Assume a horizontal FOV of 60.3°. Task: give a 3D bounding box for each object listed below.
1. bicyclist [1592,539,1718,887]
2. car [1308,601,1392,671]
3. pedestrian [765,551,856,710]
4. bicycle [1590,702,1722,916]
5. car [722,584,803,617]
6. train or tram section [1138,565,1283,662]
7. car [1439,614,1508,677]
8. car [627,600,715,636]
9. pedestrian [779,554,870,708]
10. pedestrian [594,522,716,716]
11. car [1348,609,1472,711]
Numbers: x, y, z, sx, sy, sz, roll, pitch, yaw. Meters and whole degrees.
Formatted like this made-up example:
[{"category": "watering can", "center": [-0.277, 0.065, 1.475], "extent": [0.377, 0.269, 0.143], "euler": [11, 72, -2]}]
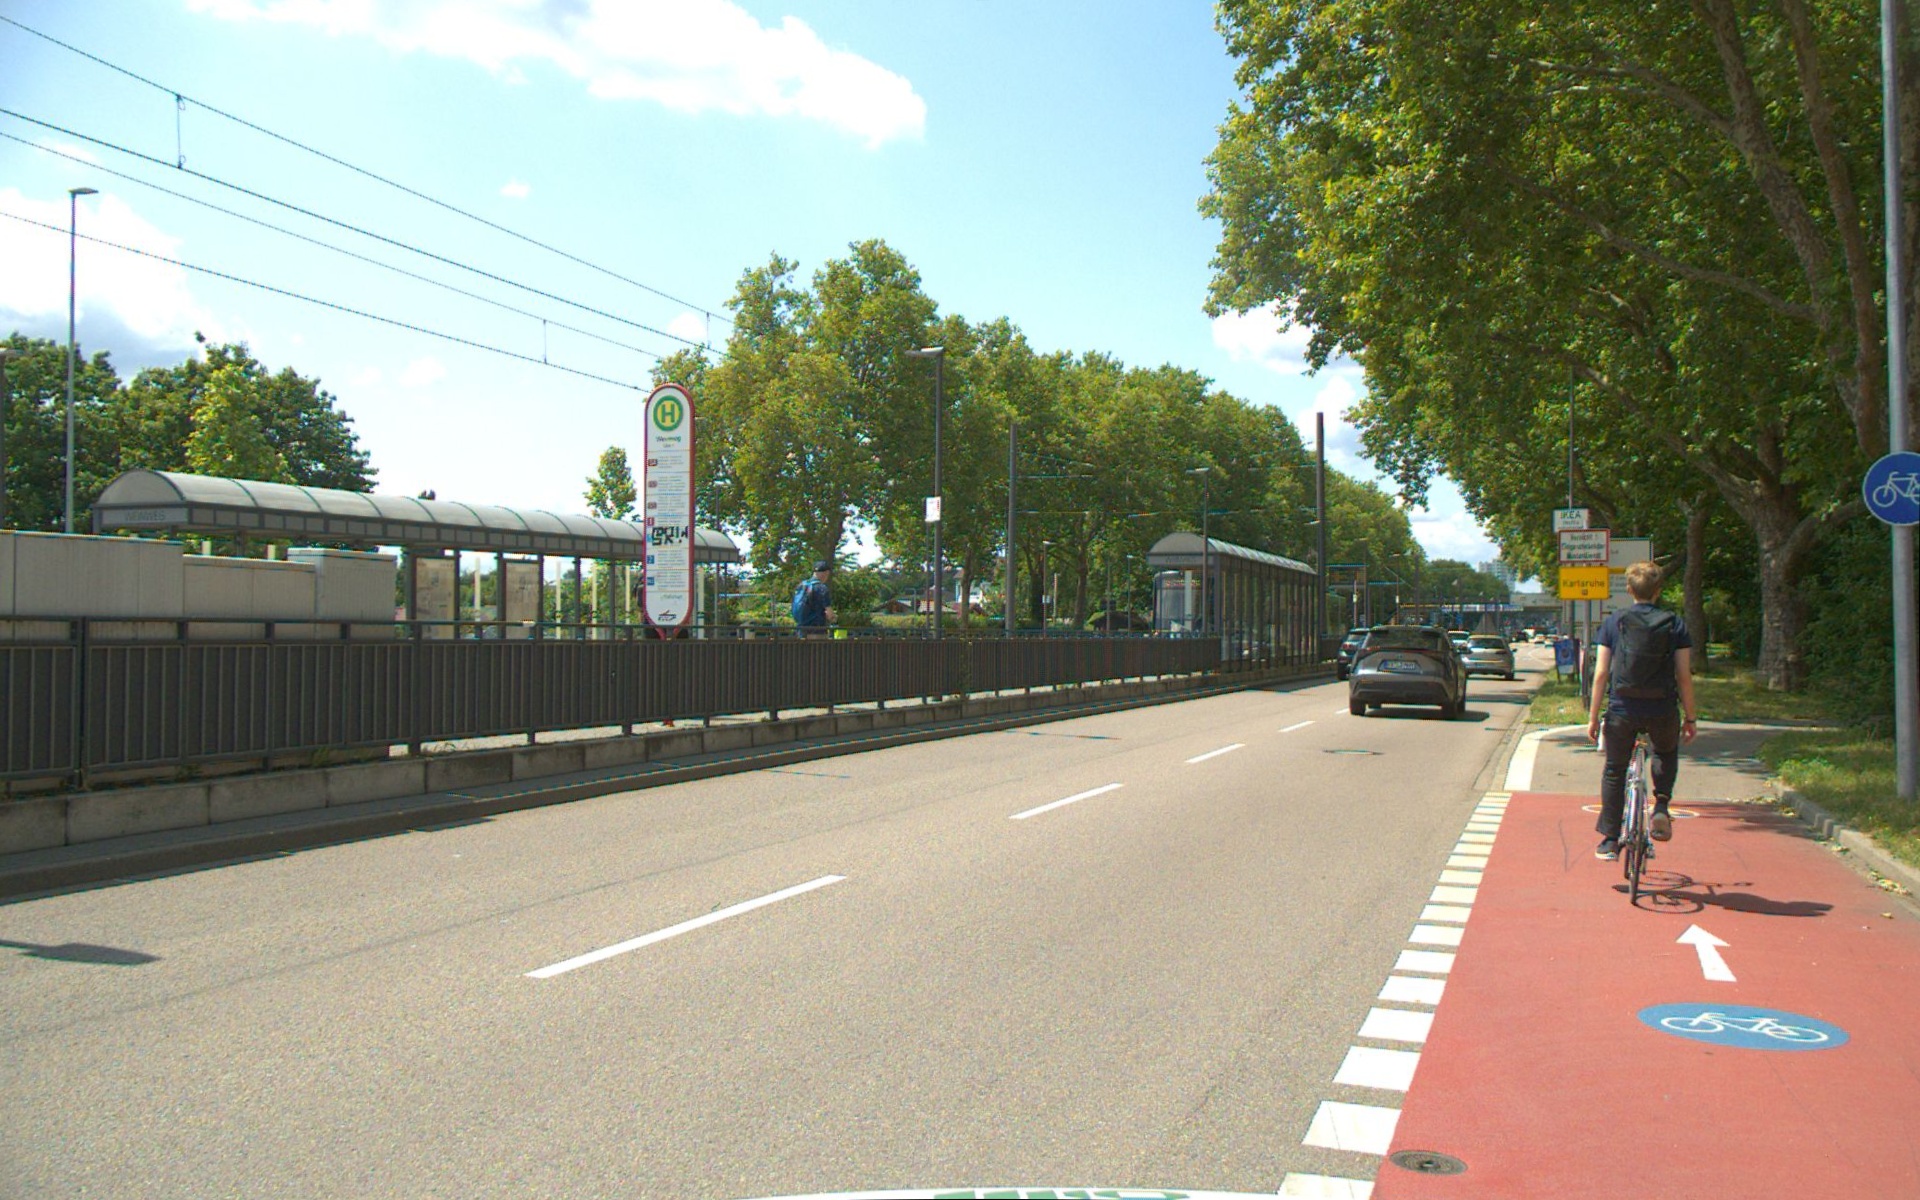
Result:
[{"category": "bicyclist", "center": [3.985, 0.615, 9.519], "extent": [0.597, 1.878, 0.924], "euler": [2, 0, 22]}, {"category": "car", "center": [12.034, 1.079, 50.822], "extent": [1.952, 2.024, 4.363], "euler": [1, 0, 21]}, {"category": "pedestrian", "center": [-1.780, 0.353, 19.798], "extent": [0.719, 1.839, 0.930], "euler": [1, -1, 21]}, {"category": "bicycle", "center": [3.997, 1.139, 9.570], "extent": [0.607, 1.016, 2.023], "euler": [2, -1, 22]}, {"category": "car", "center": [-10.578, 0.028, 88.644], "extent": [3.835, 1.691, 1.909], "euler": [1, 0, 23]}, {"category": "train or tram section", "center": [9.727, 0.554, 62.417], "extent": [2.974, 3.242, 14.104], "euler": [0, -1, 19]}, {"category": "car", "center": [17.631, 1.512, 56.672], "extent": [1.953, 2.024, 4.363], "euler": [0, 0, 21]}, {"category": "car", "center": [-14.206, 0.878, 81.434], "extent": [3.835, 1.691, 1.909], "euler": [1, 0, 23]}, {"category": "pedestrian", "center": [-1.608, 0.361, 19.781], "extent": [0.719, 1.786, 0.930], "euler": [1, -1, 21]}, {"category": "pedestrian", "center": [-3.189, 0.183, 17.364], "extent": [0.855, 1.973, 0.994], "euler": [1, 0, 21]}, {"category": "car", "center": [8.370, 1.131, 30.507], "extent": [1.858, 1.704, 4.520], "euler": [1, -3, 20]}]
